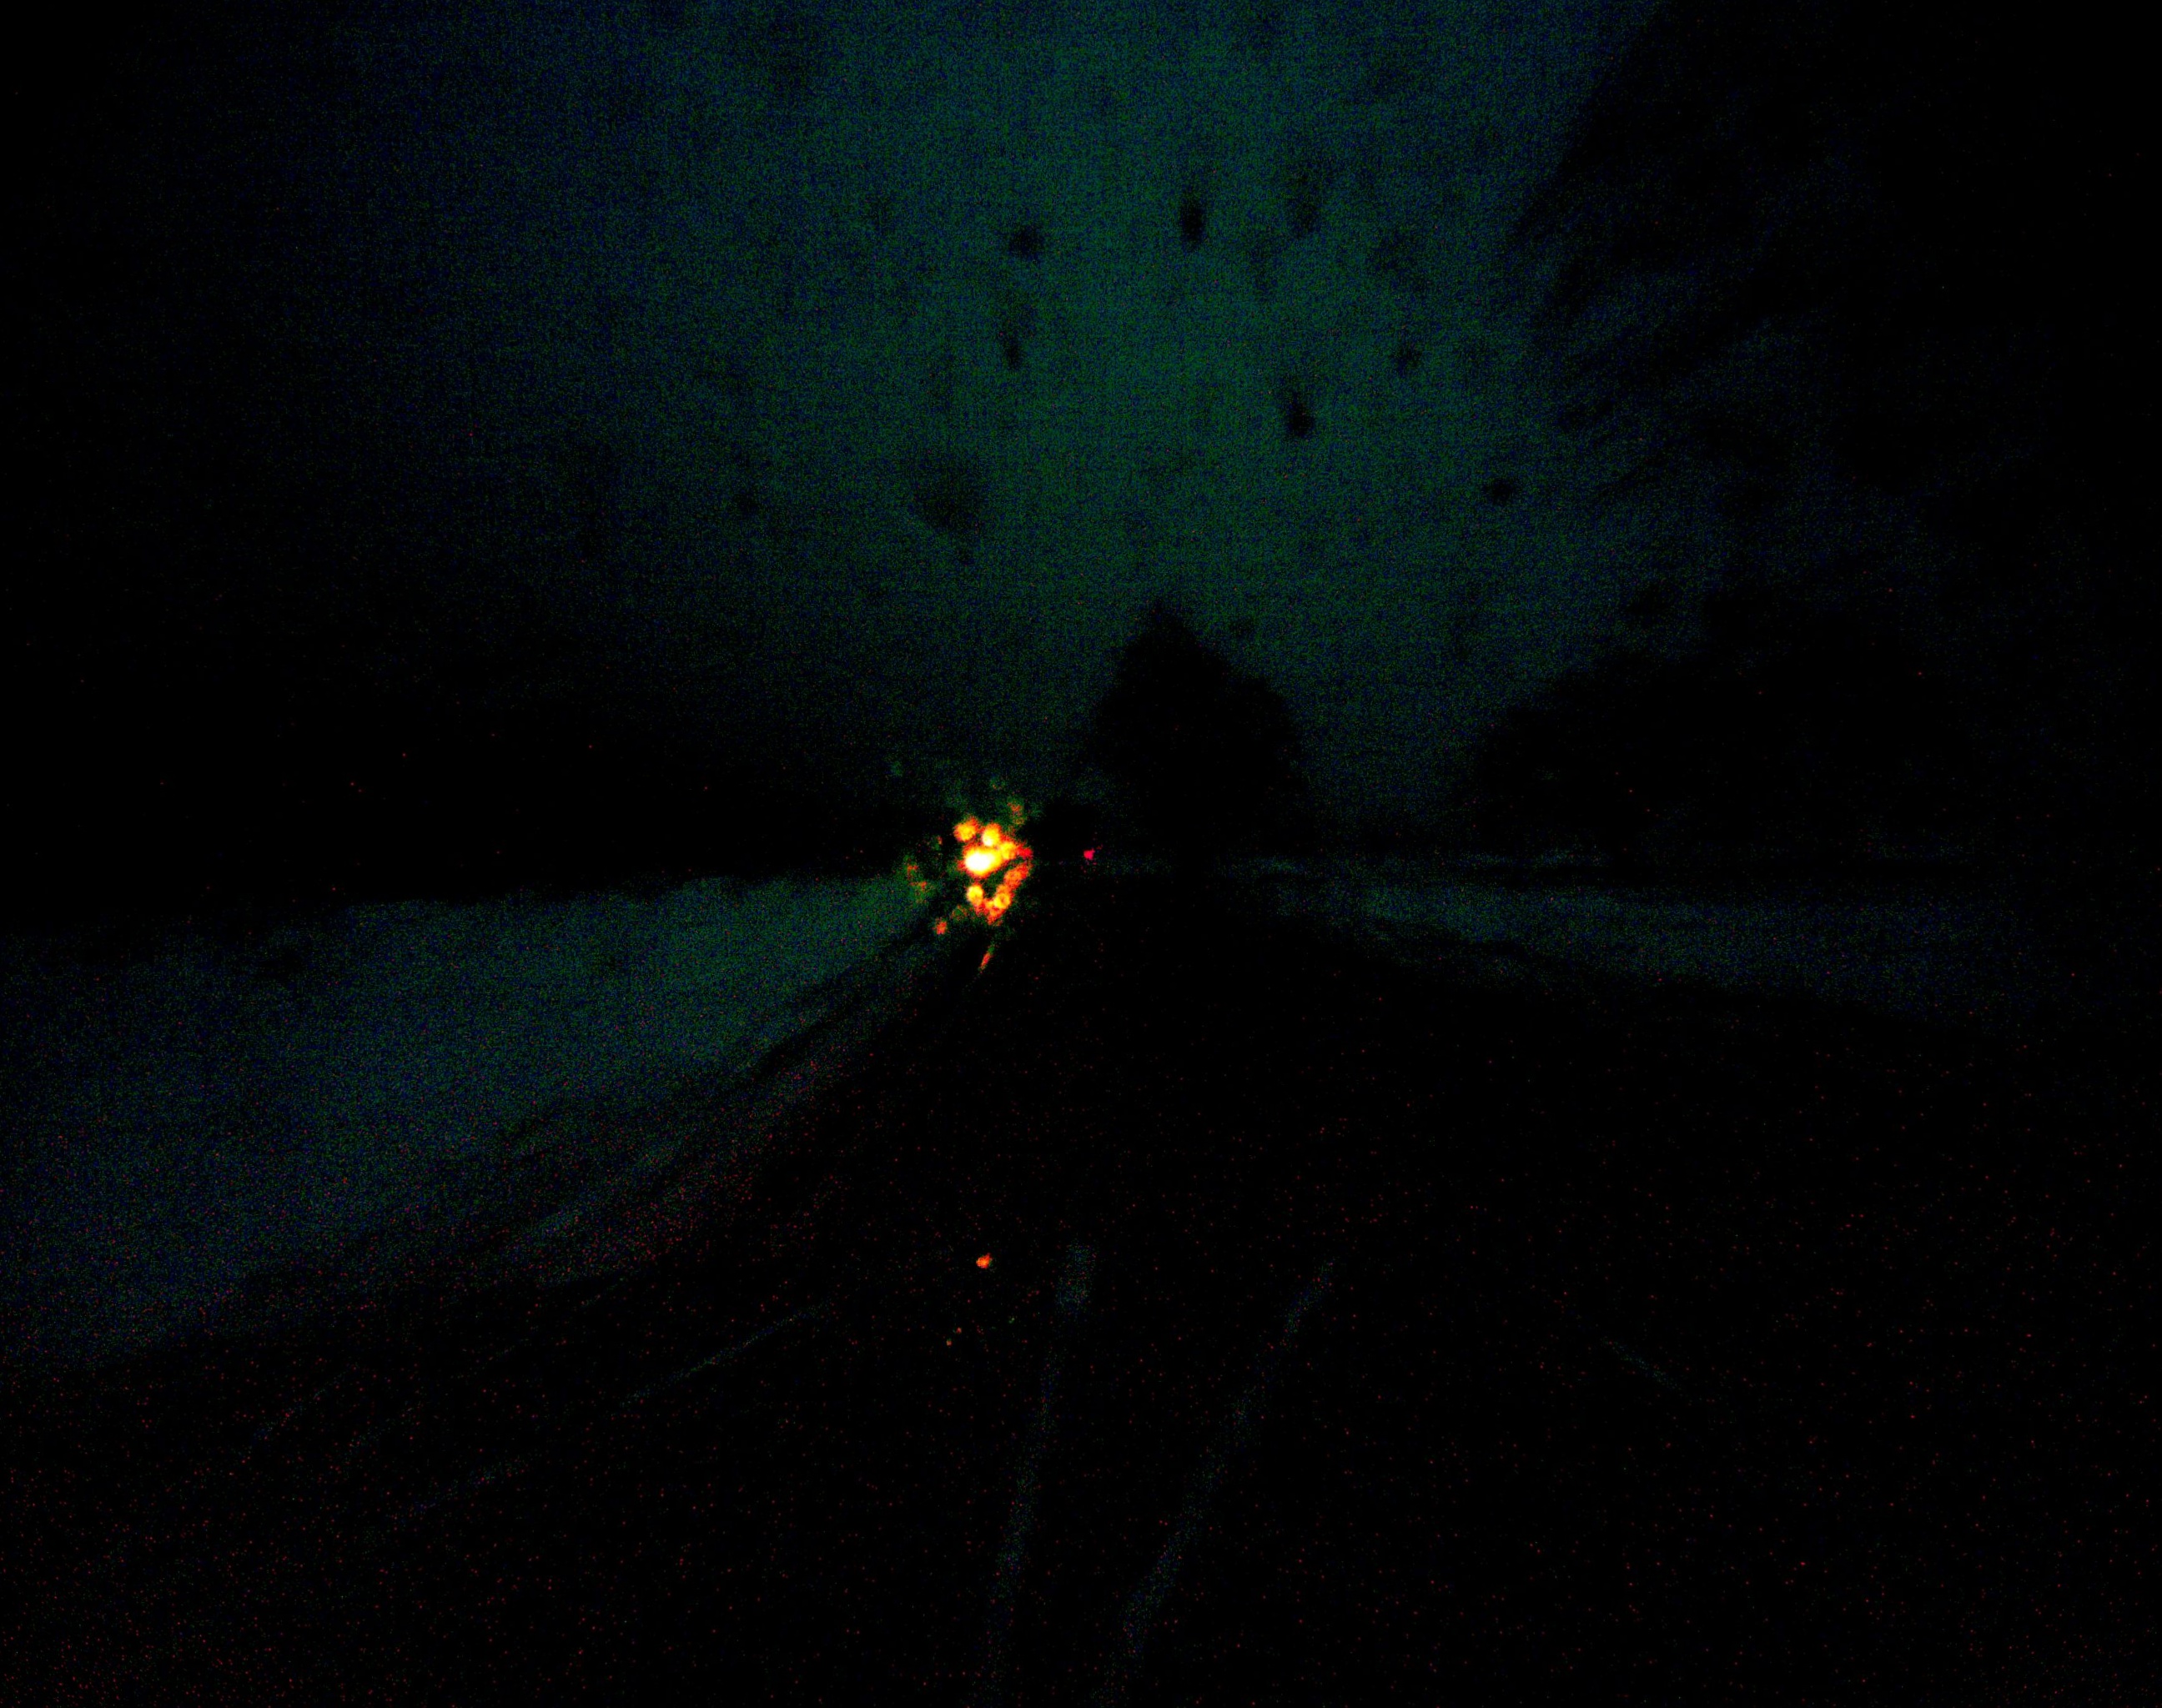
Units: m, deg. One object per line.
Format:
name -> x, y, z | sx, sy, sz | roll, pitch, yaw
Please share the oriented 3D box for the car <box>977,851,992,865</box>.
car -> -14.584, 0.577, 114.724 | 1.999, 2.002, 3.997 | -2, 1, -6
